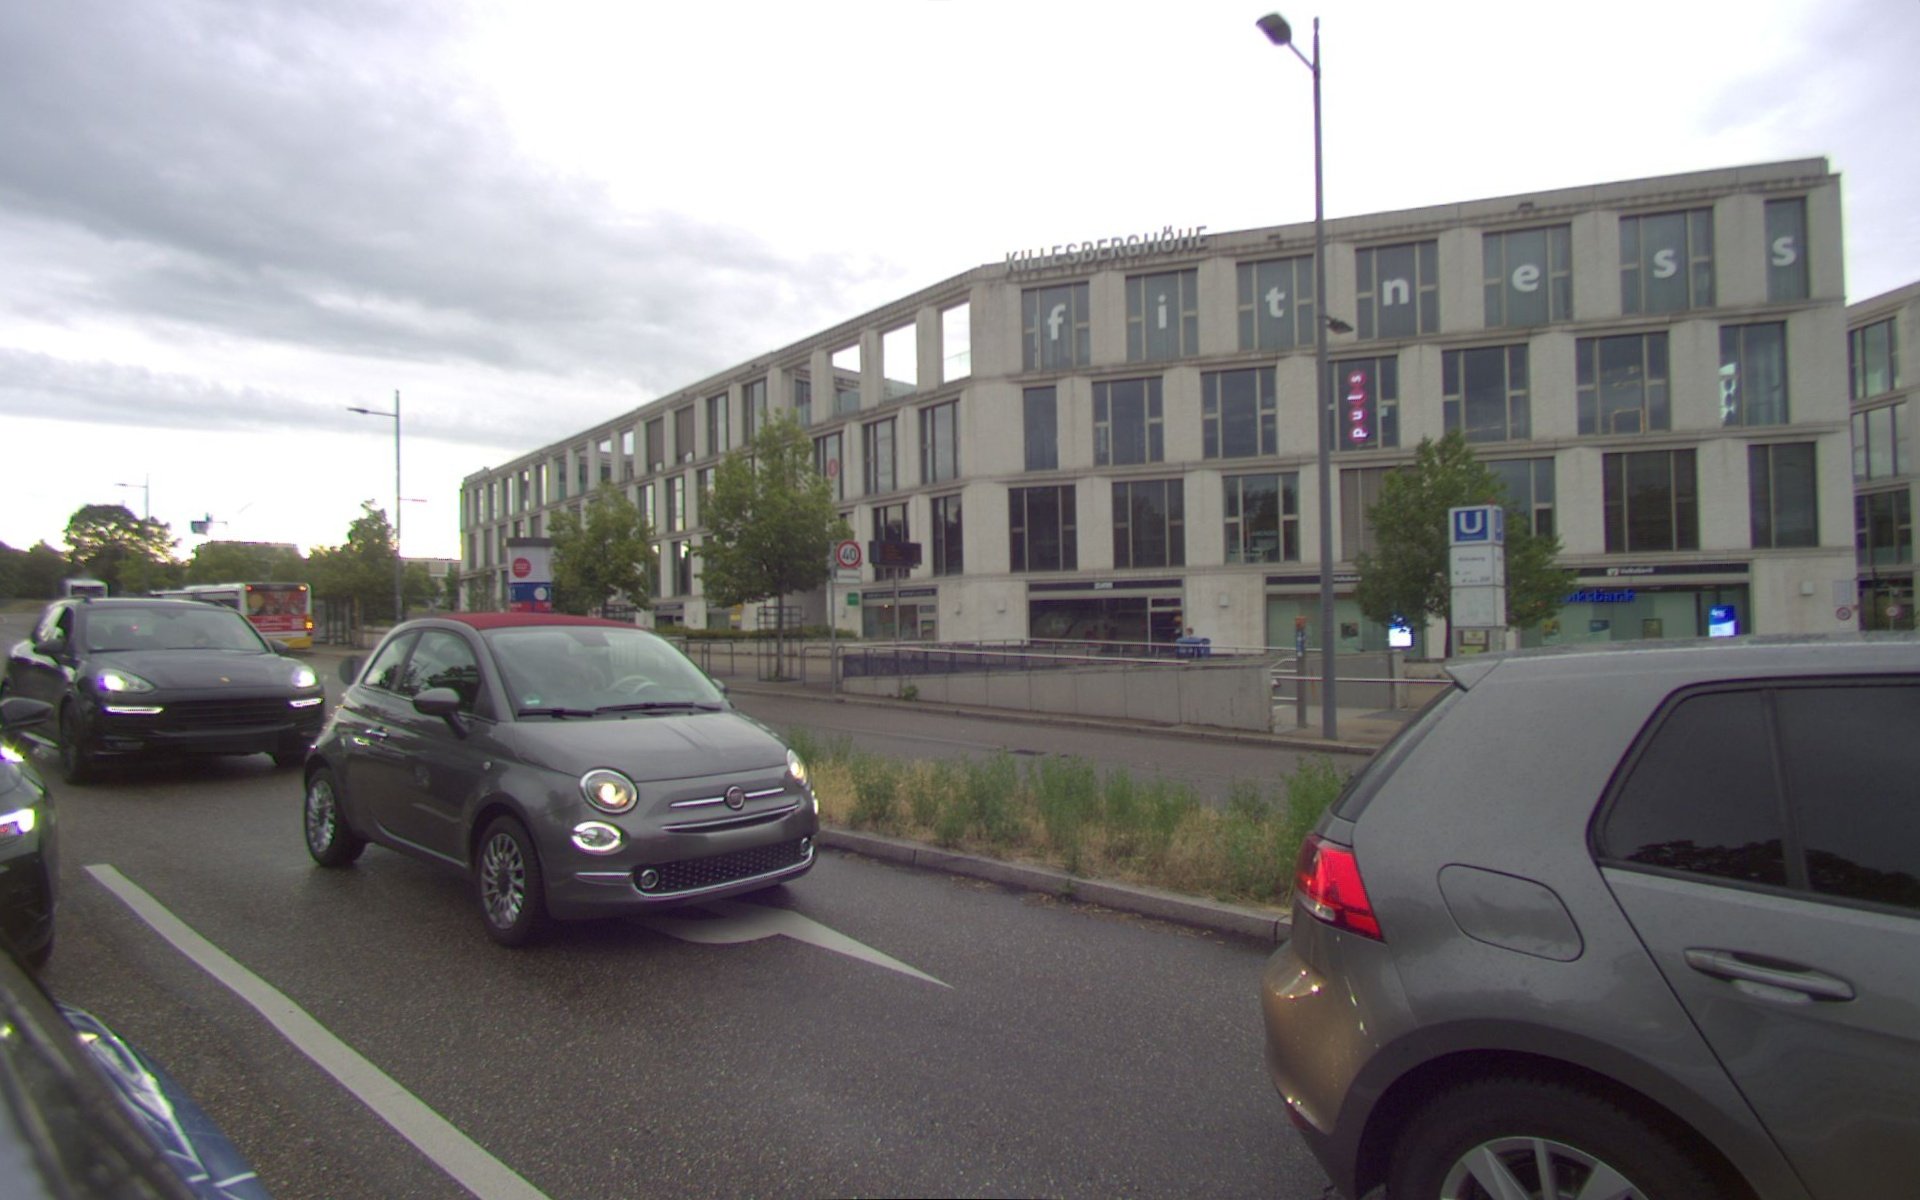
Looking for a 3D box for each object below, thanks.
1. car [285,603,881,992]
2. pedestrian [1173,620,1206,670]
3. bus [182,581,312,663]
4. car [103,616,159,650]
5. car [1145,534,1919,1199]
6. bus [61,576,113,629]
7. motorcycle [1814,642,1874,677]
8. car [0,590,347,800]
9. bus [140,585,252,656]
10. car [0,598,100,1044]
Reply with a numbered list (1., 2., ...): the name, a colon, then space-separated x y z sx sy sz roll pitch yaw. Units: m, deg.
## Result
1. car: -2.249 0.793 5.657 3.503 1.492 1.610 -1 -2 40
2. pedestrian: 7.654 1.487 33.804 0.910 1.617 0.757 -1 -1 28
3. bus: -31.137 0.910 43.976 9.206 3.236 2.723 -1 0 43
4. car: -46.657 1.816 56.931 3.998 1.800 1.843 -1 0 41
5. car: 2.646 0.650 1.521 4.374 1.492 1.797 -1 -2 41
6. bus: -76.354 0.249 88.748 2.717 4.185 19.383 -1 0 -39
7. motorcycle: 20.386 1.362 23.356 0.517 0.746 1.098 -1 0 9
8. car: -8.181 0.800 10.260 4.612 1.671 1.910 -1 -1 39
9. bus: -38.164 0.978 50.383 9.911 3.205 2.658 -1 0 42
10. car: -5.420 0.761 4.410 4.766 1.476 1.877 -1 0 41
